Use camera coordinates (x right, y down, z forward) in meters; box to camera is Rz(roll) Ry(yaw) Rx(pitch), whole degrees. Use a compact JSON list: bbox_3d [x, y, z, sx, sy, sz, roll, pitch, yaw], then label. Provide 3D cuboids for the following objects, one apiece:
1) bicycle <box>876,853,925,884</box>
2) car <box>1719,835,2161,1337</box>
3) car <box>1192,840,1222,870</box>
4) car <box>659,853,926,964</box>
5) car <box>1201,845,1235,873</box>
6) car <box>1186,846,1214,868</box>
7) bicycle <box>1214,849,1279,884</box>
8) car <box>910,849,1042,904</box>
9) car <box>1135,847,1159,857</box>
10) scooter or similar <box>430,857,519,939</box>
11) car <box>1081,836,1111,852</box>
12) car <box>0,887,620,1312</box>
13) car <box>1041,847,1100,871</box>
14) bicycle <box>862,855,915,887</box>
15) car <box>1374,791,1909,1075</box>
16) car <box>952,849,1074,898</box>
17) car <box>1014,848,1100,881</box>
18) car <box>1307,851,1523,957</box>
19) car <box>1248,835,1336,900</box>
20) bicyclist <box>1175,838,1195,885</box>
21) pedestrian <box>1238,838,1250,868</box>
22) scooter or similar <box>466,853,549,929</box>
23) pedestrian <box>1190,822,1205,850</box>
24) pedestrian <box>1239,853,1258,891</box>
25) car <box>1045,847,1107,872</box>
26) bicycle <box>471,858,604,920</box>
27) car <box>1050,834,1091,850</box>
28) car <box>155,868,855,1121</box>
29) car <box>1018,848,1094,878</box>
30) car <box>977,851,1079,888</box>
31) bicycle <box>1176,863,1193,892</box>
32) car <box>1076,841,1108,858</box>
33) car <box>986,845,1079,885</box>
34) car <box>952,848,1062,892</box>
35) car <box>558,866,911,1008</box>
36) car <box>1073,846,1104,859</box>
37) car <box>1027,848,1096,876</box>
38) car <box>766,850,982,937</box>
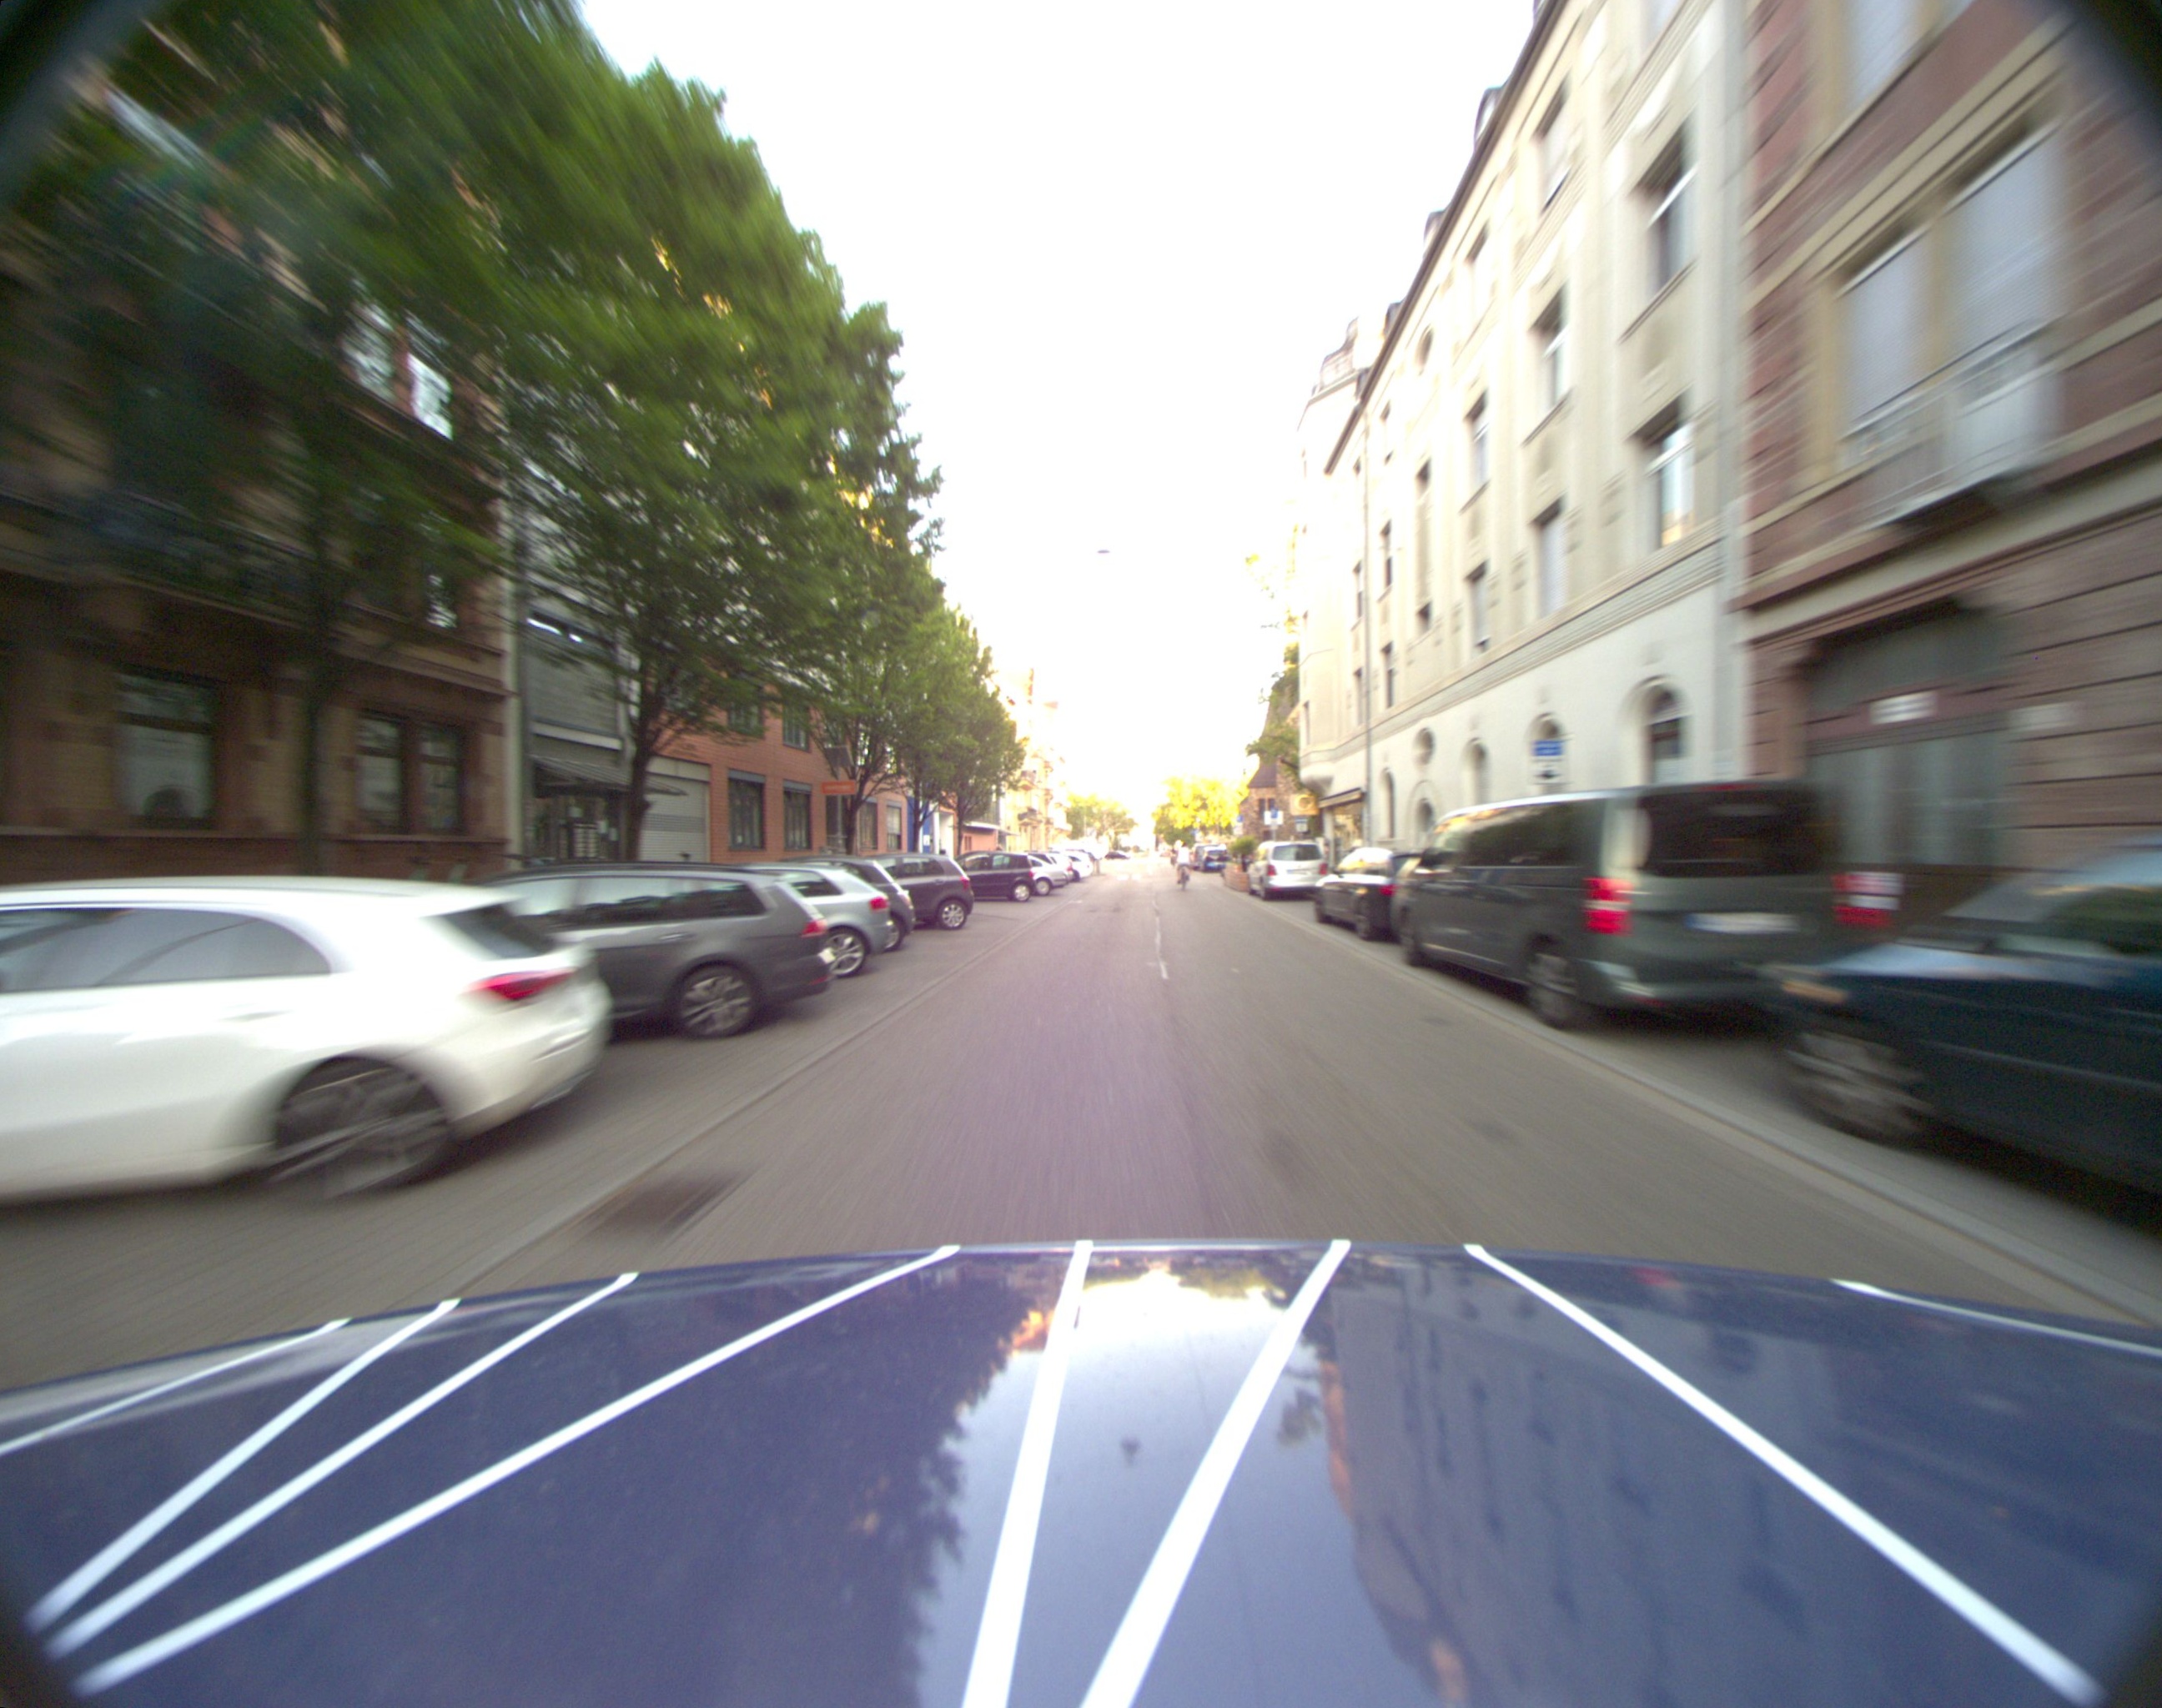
[{"bbox_3d":[-7.214,0.577,30.405,1.769,1.094,0.546,3,1,-2],"label":"bicycle"},{"bbox_3d":[4.399,0.732,2.287,1.931,1.587,3.971,-1,1,7],"label":"car"},{"bbox_3d":[8.682,0.032,52.677,1.785,1.860,4.459,-2,1,7],"label":"car"},{"bbox_3d":[-4.409,0.781,11.861,3.636,1.508,1.621,1,1,-23],"label":"car"},{"bbox_3d":[8.547,0.287,47.693,1.785,1.538,4.001,-2,1,7],"label":"car"},{"bbox_3d":[9.369,0.203,59.981,1.785,1.538,4.000,-2,1,4],"label":"car"},{"bbox_3d":[7.024,0.518,32.268,2.618,1.390,0.602,-2,2,18],"label":"bicycle"},{"bbox_3d":[-3.314,0.699,23.796,3.837,1.557,1.675,1,2,-16],"label":"car"},{"bbox_3d":[12.536,-0.337,143.666,4.071,1.688,1.681,2,2,26],"label":"car"},{"bbox_3d":[-10.140,0.718,12.734,0.329,1.274,1.068,-1,2,42],"label":"scooter or similar"},{"bbox_3d":[2.264,-1.535,113.442,4.200,2.246,1.673,1,2,-30],"label":"car"},{"bbox_3d":[-4.507,0.945,3.485,4.002,1.480,1.680,1,1,-29],"label":"car"},{"bbox_3d":[-0.740,0.338,53.251,3.835,1.510,1.676,1,2,-11],"label":"car"},{"bbox_3d":[-7.089,0.624,27.984,1.769,1.094,0.546,3,1,-2],"label":"bicycle"},{"bbox_3d":[4.657,0.518,7.503,1.931,1.872,4.906,-1,1,4],"label":"car"},{"bbox_3d":[-2.365,0.659,26.476,3.840,1.557,1.674,1,2,-25],"label":"car"},{"bbox_3d":[-1.161,0.537,37.393,3.840,1.510,1.673,1,2,-27],"label":"car"},{"bbox_3d":[5.305,0.689,12.803,1.931,1.422,4.482,-1,1,4],"label":"car"},{"bbox_3d":[5.963,0.338,21.873,1.729,1.638,3.917,-2,0,5],"label":"car"},{"bbox_3d":[3.853,0.271,28.123,0.624,1.682,1.004,-2,1,4],"label":"bicyclist"},{"bbox_3d":[9.561,-0.061,44.649,0.566,1.723,0.562,-2,2,4],"label":"pedestrian"},{"bbox_3d":[-10.245,0.633,13.599,0.329,1.274,1.068,-1,2,34],"label":"scooter or similar"},{"bbox_3d":[11.930,-1.829,77.846,1.445,2.725,1.012,-2,2,4],"label":"pedestrian"},{"bbox_3d":[5.895,0.630,26.774,0.571,1.315,0.496,-2,2,4],"label":"pedestrian"},{"bbox_3d":[-0.368,0.330,50.229,3.835,1.510,1.676,1,2,-11],"label":"car"},{"bbox_3d":[-10.551,0.680,14.815,2.024,1.158,0.579,2,1,-13],"label":"bicycle"},{"bbox_3d":[-1.093,-1.245,78.919,3.839,1.510,1.674,1,2,-23],"label":"car"},{"bbox_3d":[-4.283,0.900,6.463,4.178,1.480,1.826,1,1,-31],"label":"car"},{"bbox_3d":[-1.400,0.505,42.454,3.839,1.510,1.674,1,2,-23],"label":"car"},{"bbox_3d":[-2.202,0.641,31.587,3.840,1.422,1.674,1,2,-25],"label":"car"},{"bbox_3d":[3.839,0.861,28.281,0.477,0.938,1.896,-2,1,4],"label":"bicycle"},{"bbox_3d":[1.565,-0.653,105.043,4.201,2.280,1.673,1,2,-34],"label":"car"},{"bbox_3d":[-2.211,0.496,34.350,3.839,1.639,1.674,1,2,-22],"label":"car"},{"bbox_3d":[-2.827,0.608,29.150,3.840,1.557,1.674,1,2,-25],"label":"car"},{"bbox_3d":[-4.158,0.897,9.451,3.637,1.412,1.827,1,1,-27],"label":"car"},{"bbox_3d":[1.044,-0.196,101.957,3.841,1.510,1.673,1,2,-30],"label":"car"},{"bbox_3d":[-1.178,0.446,45.273,3.835,1.510,1.676,1,2,-11],"label":"car"},{"bbox_3d":[-4.033,0.726,14.897,3.806,1.508,1.646,1,1,-27],"label":"car"}]
